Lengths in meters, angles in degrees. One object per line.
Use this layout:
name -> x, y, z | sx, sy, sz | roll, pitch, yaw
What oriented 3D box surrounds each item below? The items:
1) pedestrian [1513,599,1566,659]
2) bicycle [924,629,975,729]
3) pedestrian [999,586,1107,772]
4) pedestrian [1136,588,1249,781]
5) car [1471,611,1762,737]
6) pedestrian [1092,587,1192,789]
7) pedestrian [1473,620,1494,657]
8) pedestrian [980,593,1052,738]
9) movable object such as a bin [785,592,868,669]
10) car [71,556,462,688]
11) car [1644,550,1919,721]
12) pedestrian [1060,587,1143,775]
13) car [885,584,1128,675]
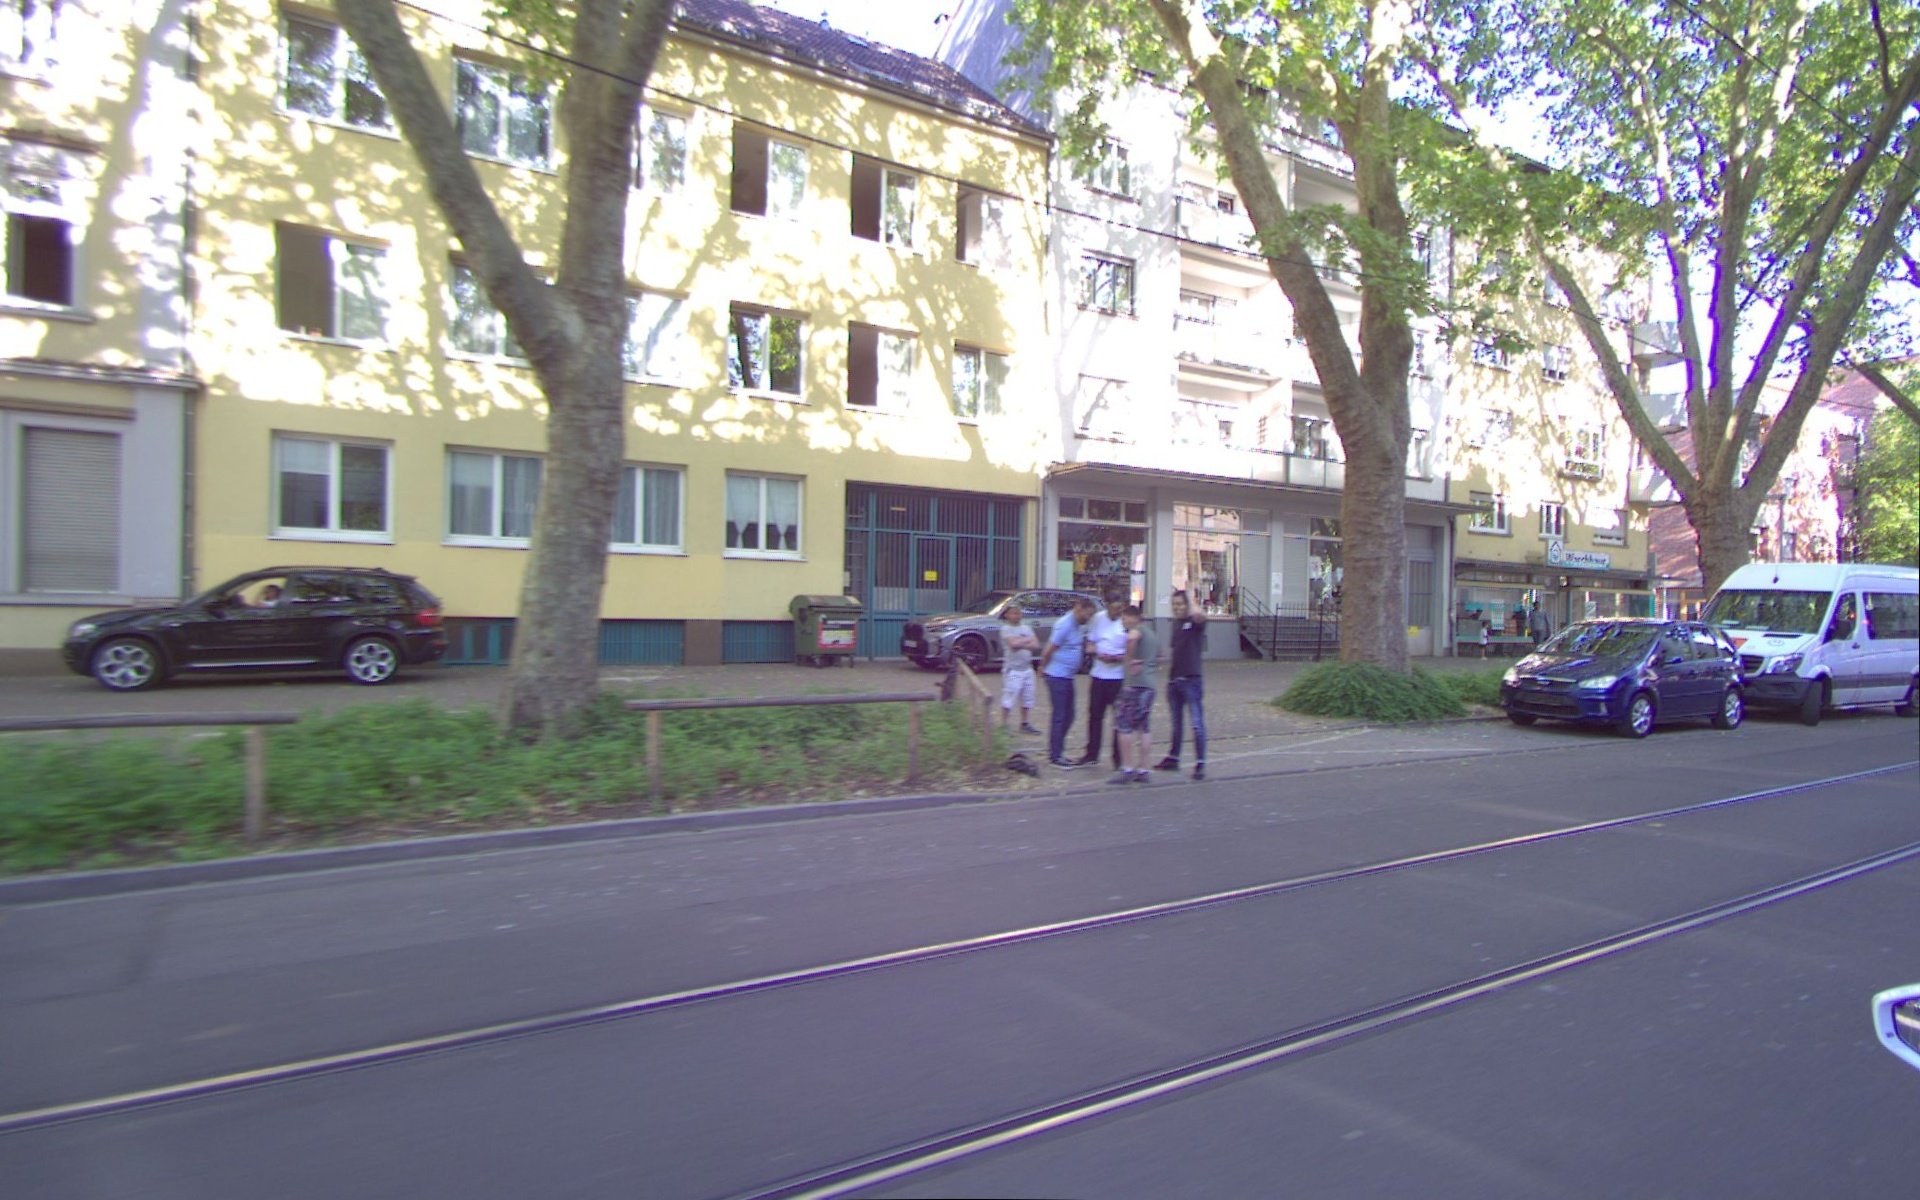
pedestrian -> 18.861, 0.935, 32.700 | 1.047, 1.889, 1.100 | 2, 0, -32
bicycle -> -0.154, 0.946, 12.562 | 0.558, 1.094, 1.851 | 2, 0, -2
pedestrian -> 0.925, 0.754, 10.017 | 0.710, 1.758, 0.763 | 2, 0, -33
pedestrian -> 2.274, 0.796, 9.856 | 0.761, 1.801, 0.708 | 2, 0, -30
car -> 9.734, 1.025, 14.836 | 4.234, 1.582, 1.907 | 2, 0, -30
pedestrian -> 1.695, 0.777, 9.309 | 0.755, 1.758, 0.714 | 2, 0, 20
pedestrian -> 16.420, 1.206, 31.520 | 0.434, 1.120, 0.416 | 2, 0, -39
pedestrian -> 0.674, 0.749, 11.928 | 0.699, 1.631, 0.771 | 2, 0, 12
movable object such as a bin -> -2.790, 0.621, 20.930 | 1.328, 1.522, 1.224 | 2, 0, -30
car -> -10.235, 0.351, 15.365 | 4.636, 1.760, 1.986 | 2, 0, -28
car -> 14.794, 0.610, 17.629 | 5.949, 2.612, 2.099 | 2, 0, -29
pedestrian -> 1.414, 0.769, 9.944 | 0.699, 1.758, 0.771 | 2, 0, 12
car -> 1.030, 0.619, 21.431 | 4.838, 1.756, 1.985 | 2, 0, -29
